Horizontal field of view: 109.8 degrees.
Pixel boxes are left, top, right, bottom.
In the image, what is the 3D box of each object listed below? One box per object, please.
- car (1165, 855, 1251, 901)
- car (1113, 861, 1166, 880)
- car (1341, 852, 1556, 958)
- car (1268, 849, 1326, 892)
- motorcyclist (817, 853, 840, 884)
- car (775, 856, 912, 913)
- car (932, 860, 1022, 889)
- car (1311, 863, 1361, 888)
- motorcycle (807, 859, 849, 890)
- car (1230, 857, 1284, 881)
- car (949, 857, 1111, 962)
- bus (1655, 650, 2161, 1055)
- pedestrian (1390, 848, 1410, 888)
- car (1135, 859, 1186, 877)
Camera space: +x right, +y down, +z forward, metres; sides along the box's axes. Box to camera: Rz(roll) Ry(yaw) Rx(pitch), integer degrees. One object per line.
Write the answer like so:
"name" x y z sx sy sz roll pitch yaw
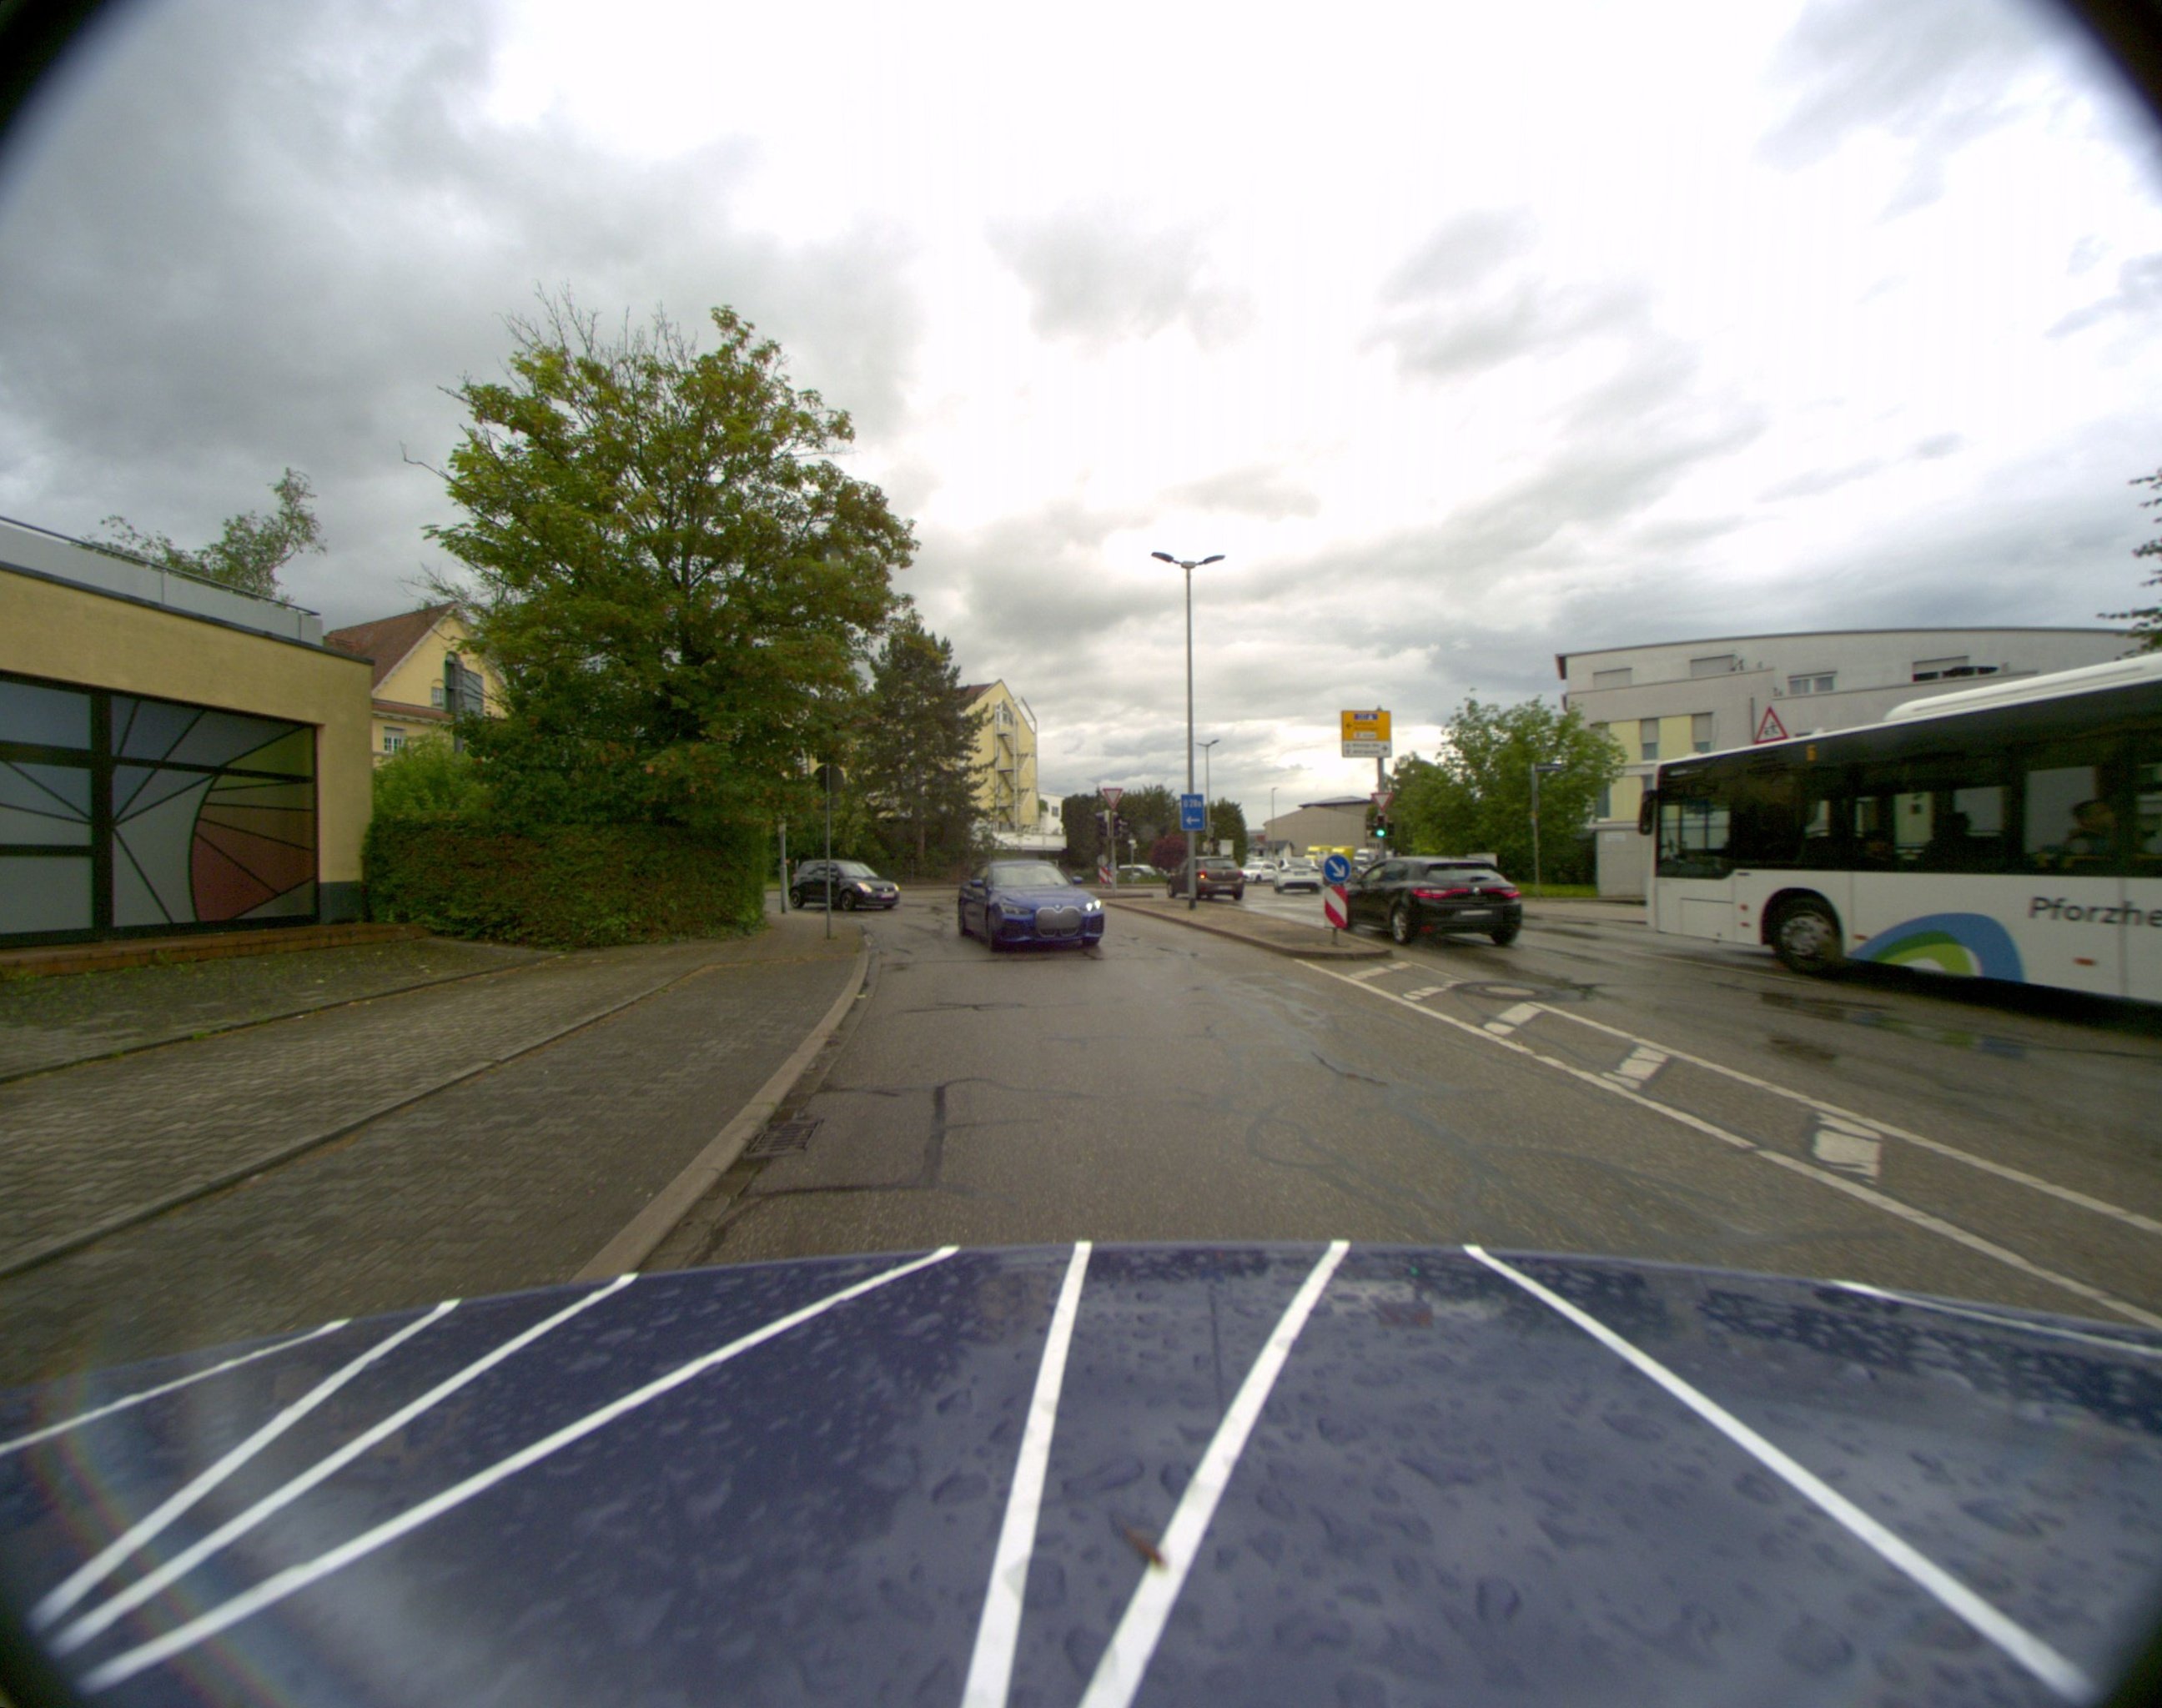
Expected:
"car" 4.409 0.784 27.003 1.829 1.478 3.934 -1 0 -9
"car" 4.852 1.337 63.106 2.004 1.455 3.988 -1 1 -45
"car" 6.055 0.743 13.158 1.955 1.510 4.175 -1 0 5
"car" 9.748 0.696 34.585 1.951 1.715 4.603 -3 0 9
"motorcyclist" -13.475 0.755 40.510 0.939 1.615 0.772 -2 1 -3
"car" -7.297 0.896 23.272 3.989 1.511 1.750 -1 3 32
"car" -5.288 1.020 38.801 4.194 1.400 1.825 0 -1 17
"car" 15.691 1.274 46.586 1.755 1.426 4.361 -1 0 34
"motorcycle" -13.465 1.075 40.523 1.921 1.615 0.797 -1 1 -3
"car" 12.767 1.056 54.964 1.994 1.630 4.008 0 1 44
"car" -1.129 0.864 14.023 1.916 1.487 4.341 -2 1 -18
"bus" 9.294 -0.005 6.344 2.552 2.982 9.207 0 0 4
"pedestrian" 16.549 0.727 39.380 0.847 2.001 0.803 -1 0 28
"car" 6.753 1.153 64.707 3.988 1.386 1.735 -1 3 43
